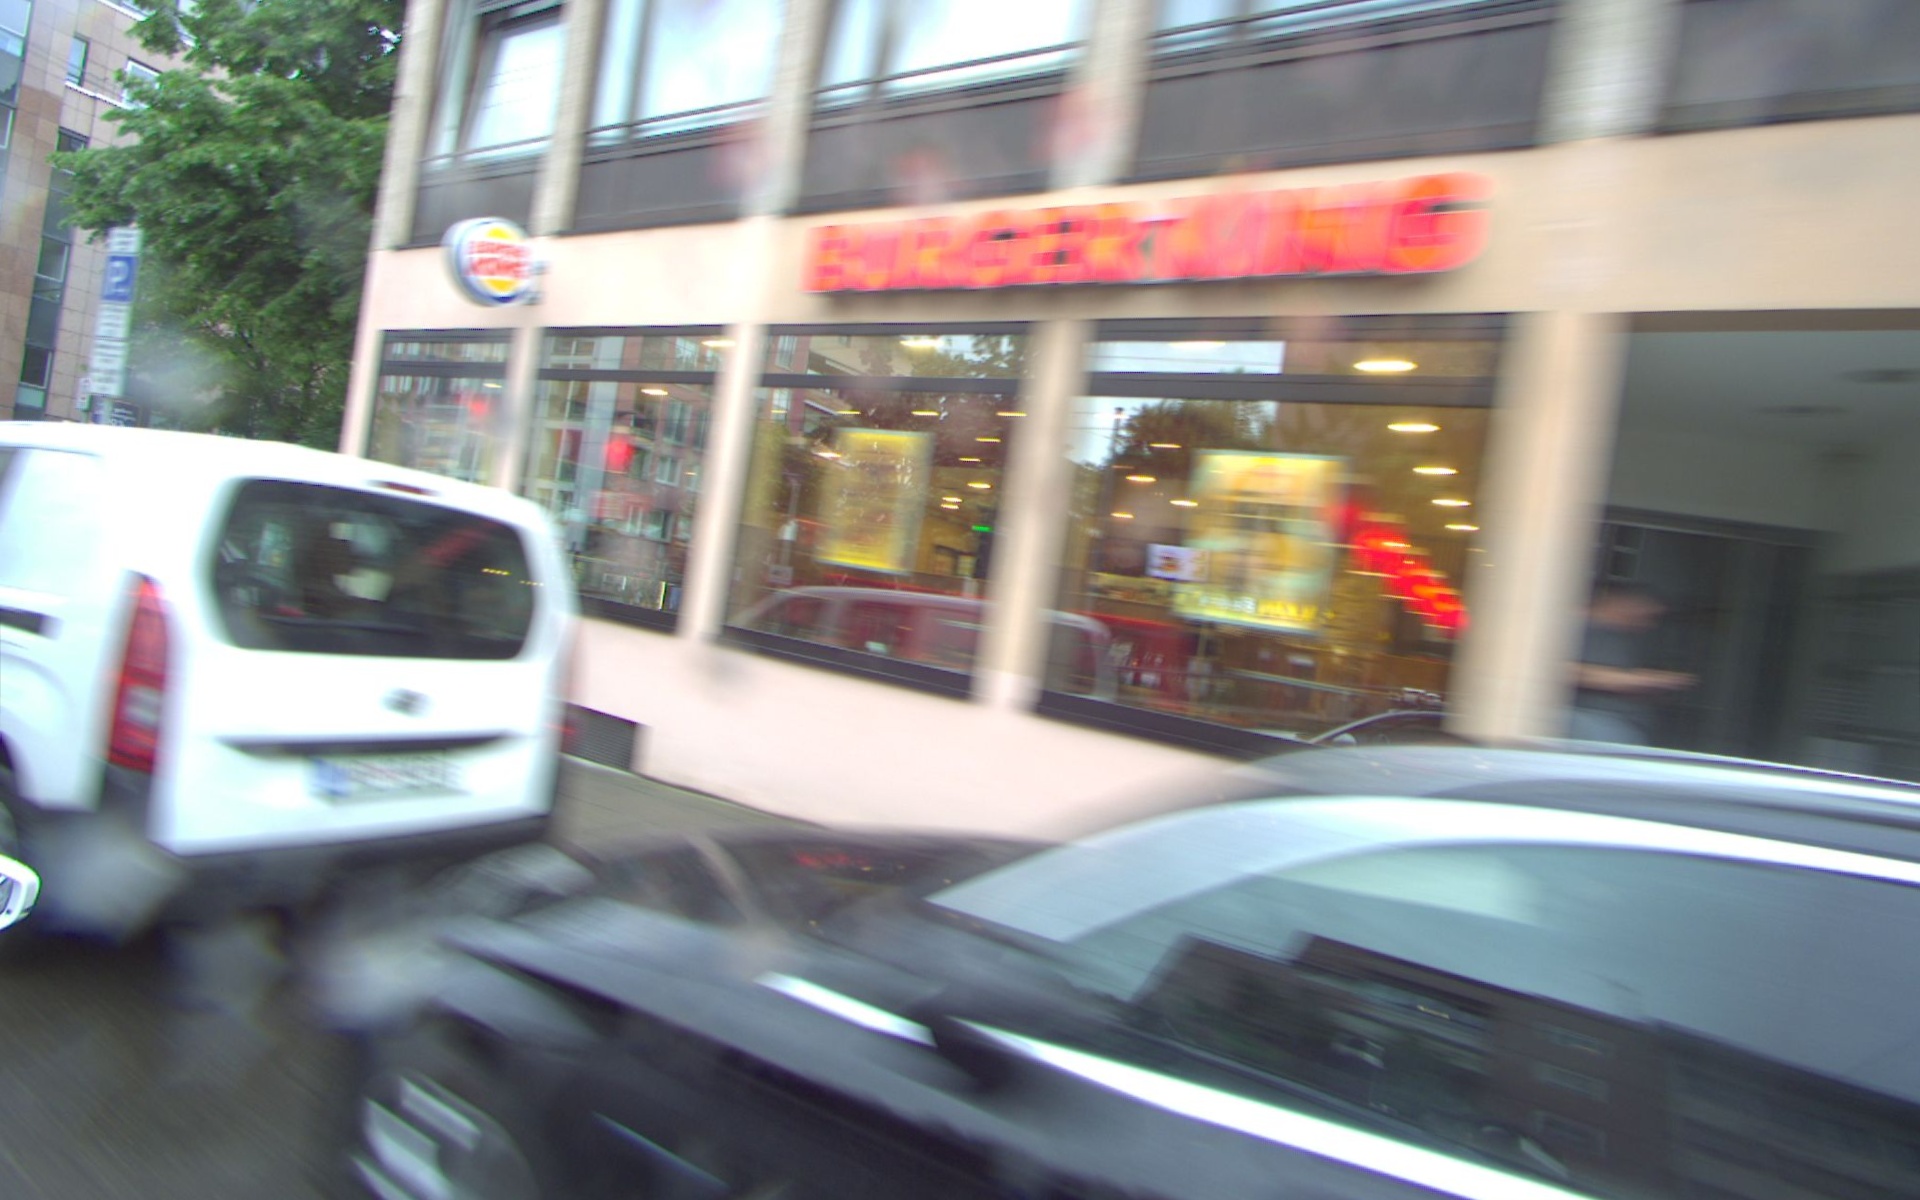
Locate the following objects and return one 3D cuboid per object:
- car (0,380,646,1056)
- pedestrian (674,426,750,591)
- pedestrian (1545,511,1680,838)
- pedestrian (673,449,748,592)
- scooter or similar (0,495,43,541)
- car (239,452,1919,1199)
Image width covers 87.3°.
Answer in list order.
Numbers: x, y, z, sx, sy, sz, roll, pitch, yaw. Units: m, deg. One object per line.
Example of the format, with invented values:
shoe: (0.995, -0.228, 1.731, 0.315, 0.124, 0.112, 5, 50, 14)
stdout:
car: (-3.953, 0.167, 4.706, 4.696, 1.828, 1.910, 7, -1, 30)
pedestrian: (-2.983, -1.069, 12.087, 0.657, 1.842, 0.594, 7, 0, -18)
pedestrian: (3.097, 0.344, 4.803, 0.366, 1.471, 0.359, 7, 0, 29)
pedestrian: (-3.160, -0.981, 12.711, 0.715, 1.669, 0.623, 7, 0, -18)
scooter or similar: (-28.845, -2.523, 30.537, 0.320, 1.242, 1.375, 7, 0, 34)
car: (0.859, 0.785, 1.822, 4.341, 1.635, 1.909, 7, -1, 32)
